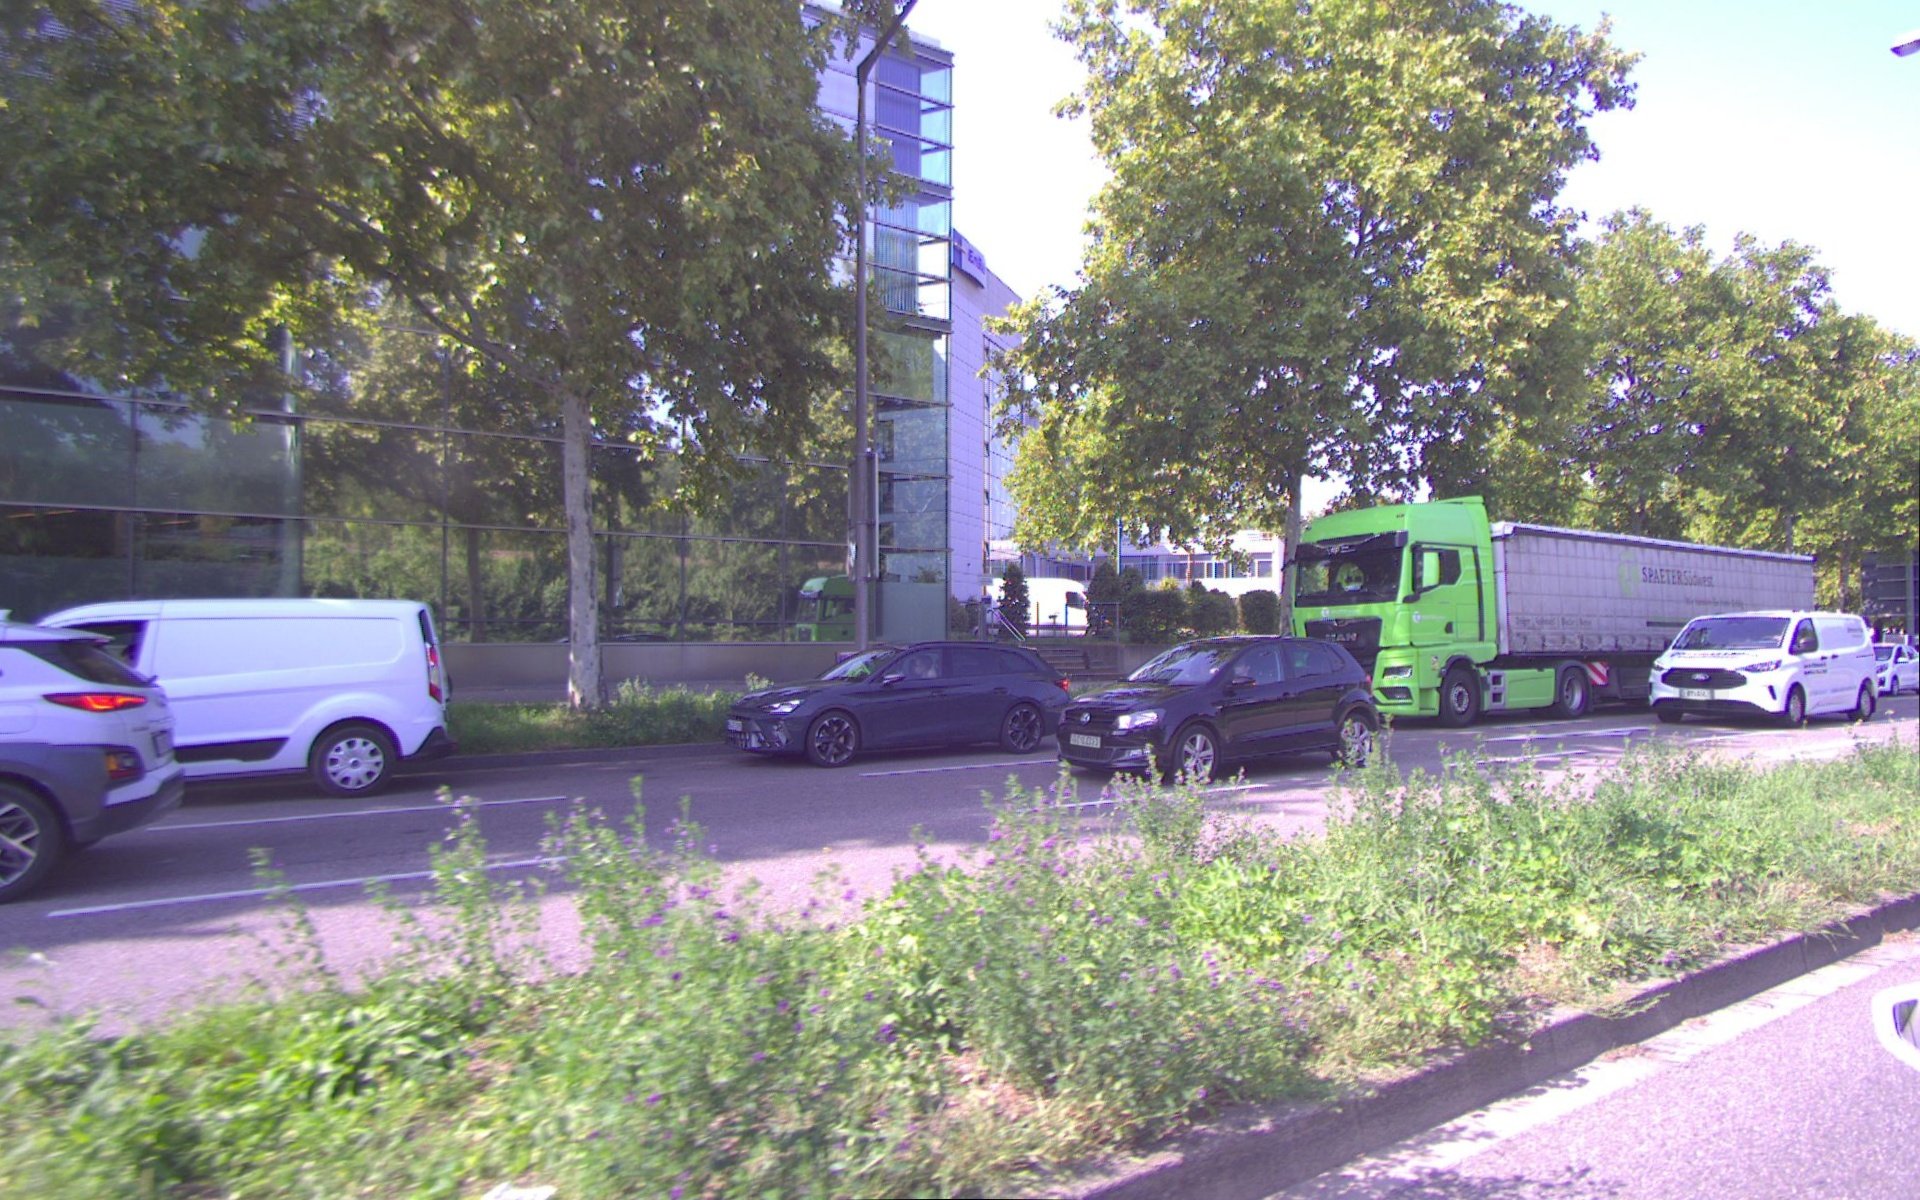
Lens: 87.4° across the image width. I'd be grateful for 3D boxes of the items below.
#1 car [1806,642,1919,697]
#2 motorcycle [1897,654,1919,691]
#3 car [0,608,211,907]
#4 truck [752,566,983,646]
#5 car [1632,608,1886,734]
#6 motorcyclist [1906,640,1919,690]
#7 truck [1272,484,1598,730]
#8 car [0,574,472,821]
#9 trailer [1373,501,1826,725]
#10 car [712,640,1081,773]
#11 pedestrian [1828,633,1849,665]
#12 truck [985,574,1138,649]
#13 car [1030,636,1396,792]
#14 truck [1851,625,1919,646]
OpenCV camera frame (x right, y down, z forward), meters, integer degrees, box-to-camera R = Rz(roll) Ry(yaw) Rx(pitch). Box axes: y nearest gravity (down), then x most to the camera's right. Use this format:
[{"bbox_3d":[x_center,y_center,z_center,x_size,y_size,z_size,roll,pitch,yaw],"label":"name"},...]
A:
[{"bbox_3d":[26.319,1.976,28.989,3.786,1.498,1.738,2,-3,-31],"label":"car"},{"bbox_3d":[30.998,2.319,32.184,2.439,1.121,0.791,2,-1,-31],"label":"motorcycle"},{"bbox_3d":[-6.585,0.827,5.235,4.093,1.548,1.686,2,-4,-32],"label":"car"},{"bbox_3d":[-3.498,0.325,39.511,9.014,2.898,1.985,2,-1,-29],"label":"truck"},{"bbox_3d":[14.379,1.223,18.006,4.980,1.979,1.983,2,-3,-32],"label":"car"},{"bbox_3d":[30.985,2.086,32.181,0.912,1.574,0.774,2,-1,-30],"label":"motorcyclist"},{"bbox_3d":[8.778,0.252,18.439,5.825,3.869,2.595,2,-4,-32],"label":"truck"},{"bbox_3d":[-7.083,0.828,9.040,4.694,1.912,1.696,2,-4,-31],"label":"car"},{"bbox_3d":[14.560,0.464,22.033,13.657,3.871,2.620,2,-4,-32],"label":"trailer"},{"bbox_3d":[-0.722,1.255,12.731,4.430,1.429,1.639,2,-4,-32],"label":"car"},{"bbox_3d":[46.960,2.601,53.669,0.923,1.674,0.614,2,-1,-32],"label":"pedestrian"},{"bbox_3d":[4.146,0.480,40.903,5.790,2.899,2.239,0,-1,21],"label":"truck"},{"bbox_3d":[2.775,1.138,10.861,3.812,1.417,1.607,2,-4,-30],"label":"car"},{"bbox_3d":[141.378,5.392,152.062,8.841,2.996,3.513,-1,-3,23],"label":"truck"}]
